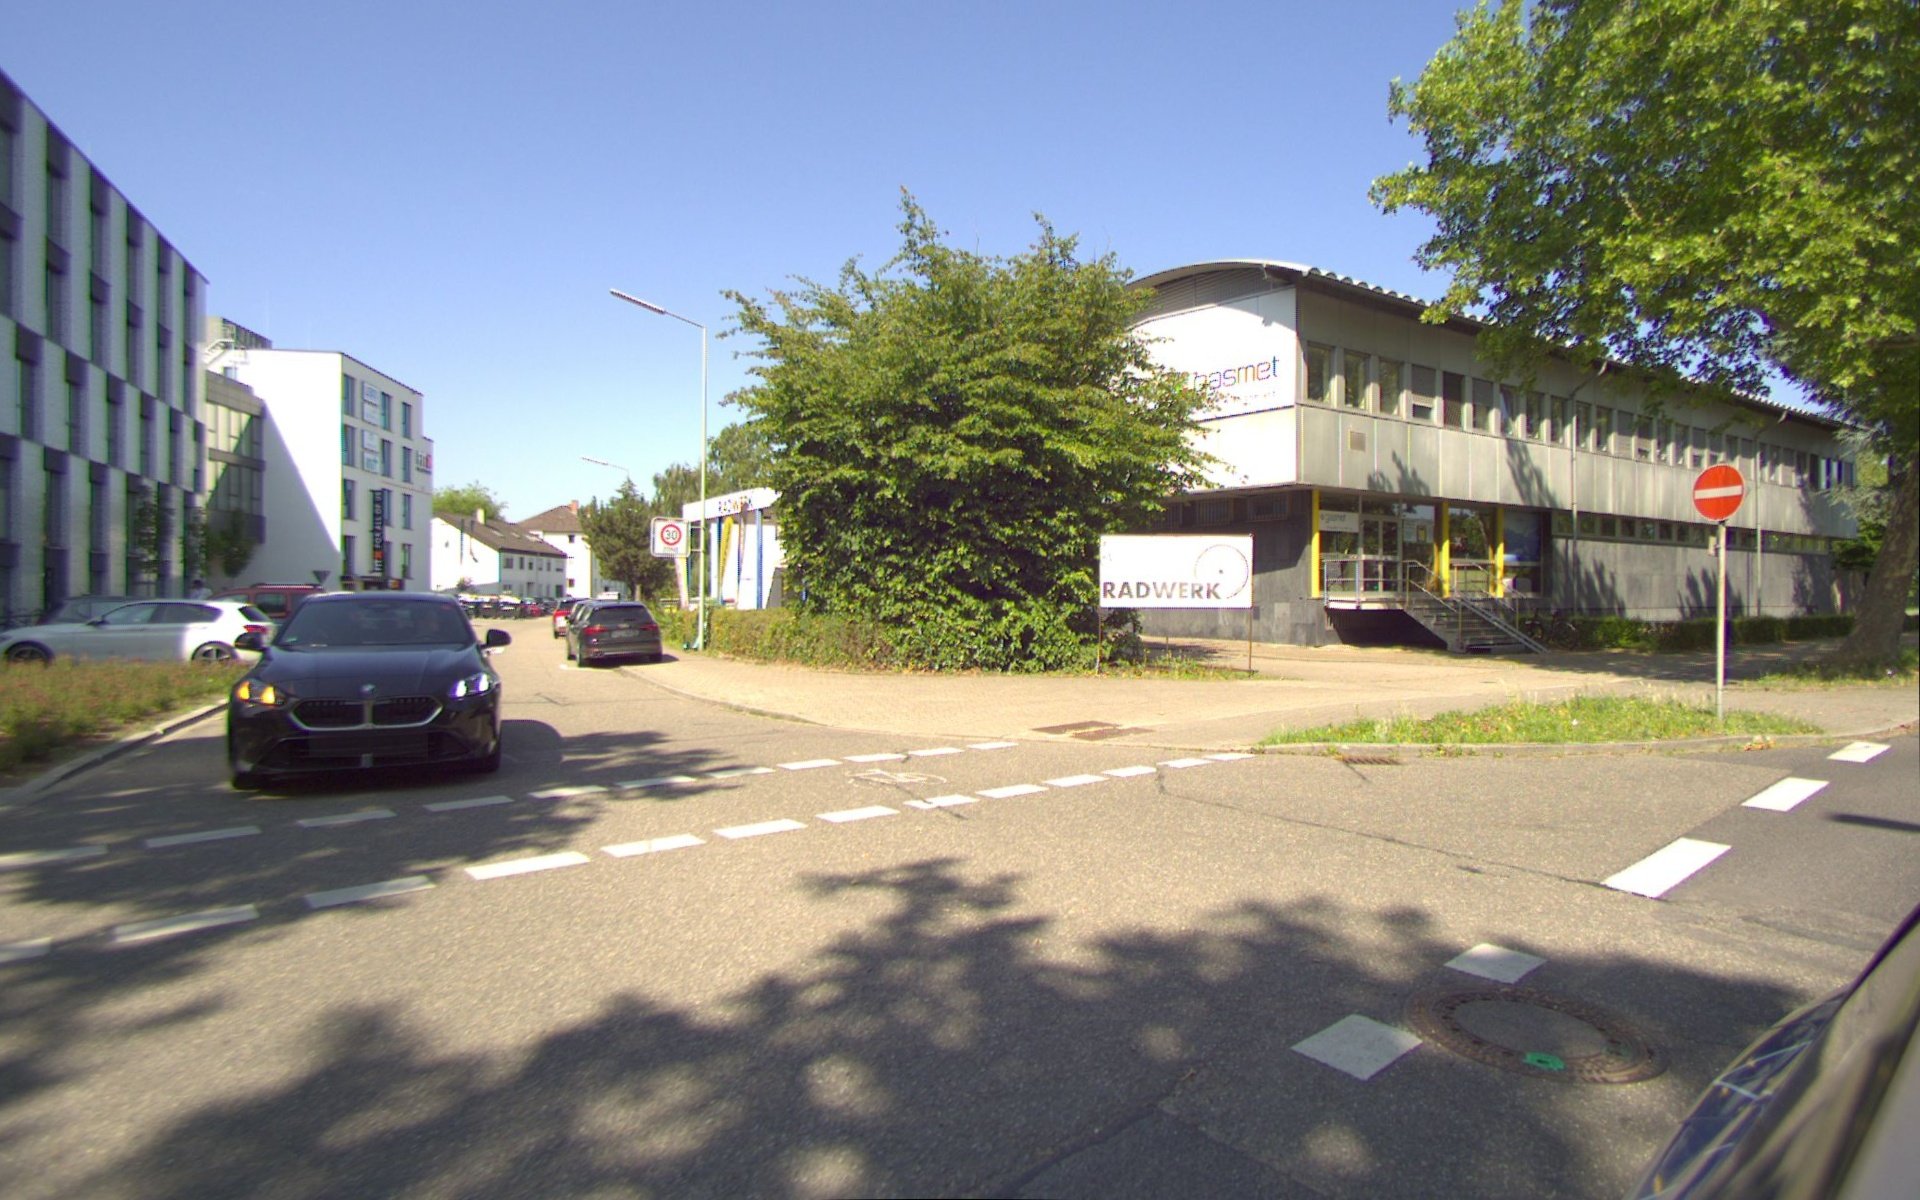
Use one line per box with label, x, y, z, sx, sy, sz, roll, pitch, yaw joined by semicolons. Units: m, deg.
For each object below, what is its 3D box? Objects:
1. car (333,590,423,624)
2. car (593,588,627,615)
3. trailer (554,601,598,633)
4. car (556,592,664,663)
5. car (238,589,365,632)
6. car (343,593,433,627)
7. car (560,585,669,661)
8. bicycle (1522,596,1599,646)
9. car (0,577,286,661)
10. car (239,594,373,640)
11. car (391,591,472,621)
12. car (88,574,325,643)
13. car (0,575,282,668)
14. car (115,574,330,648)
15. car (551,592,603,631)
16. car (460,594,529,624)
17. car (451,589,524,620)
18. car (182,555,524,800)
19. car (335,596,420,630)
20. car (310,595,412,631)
car;-26.498;0.311;46.200;3.458;1.454;1.651;1;1;-26
car;-26.245;0.120;75.959;1.658;1.906;3.714;-1;-1;-7
trailer;-15.269;0.652;40.336;1.564;1.194;3.234;-1;0;-19
car;-8.178;0.570;23.419;1.833;1.415;4.062;-2;1;-26
car;-22.634;0.366;34.920;3.458;1.395;1.651;1;1;-26
car;-27.484;0.454;48.730;3.630;1.504;1.710;-1;1;-25
car;-8.044;0.485;23.357;1.958;1.572;4.006;0;0;-25
bicycle;15.100;0.505;25.485;0.498;1.144;1.679;-1;2;-24
car;-16.650;0.373;20.774;4.388;1.572;2.003;0;0;-25
car;-21.167;0.540;32.903;3.458;1.395;1.651;1;1;-26
car;-29.134;0.320;55.932;3.714;1.480;1.861;3;0;-20
car;-18.479;0.184;25.113;4.388;1.572;2.003;0;0;-25
car;-15.356;0.376;18.710;4.388;1.572;2.003;0;0;-25
car;-19.747;0.269;27.368;4.388;1.875;2.003;0;0;-25
car;-16.412;0.469;43.504;1.958;1.536;4.270;-1;0;-19
car;-34.554;0.656;75.207;4.305;1.986;1.861;3;-1;-12
car;-33.418;0.344;71.659;4.305;1.986;1.861;3;-1;-12
car;-5.024;0.471;8.694;1.960;1.536;4.267;-1;0;-28
car;-25.173;0.545;43.820;3.063;1.357;1.479;-1;1;-25
car;-24.485;0.517;41.499;3.458;1.395;1.651;1;1;-26
